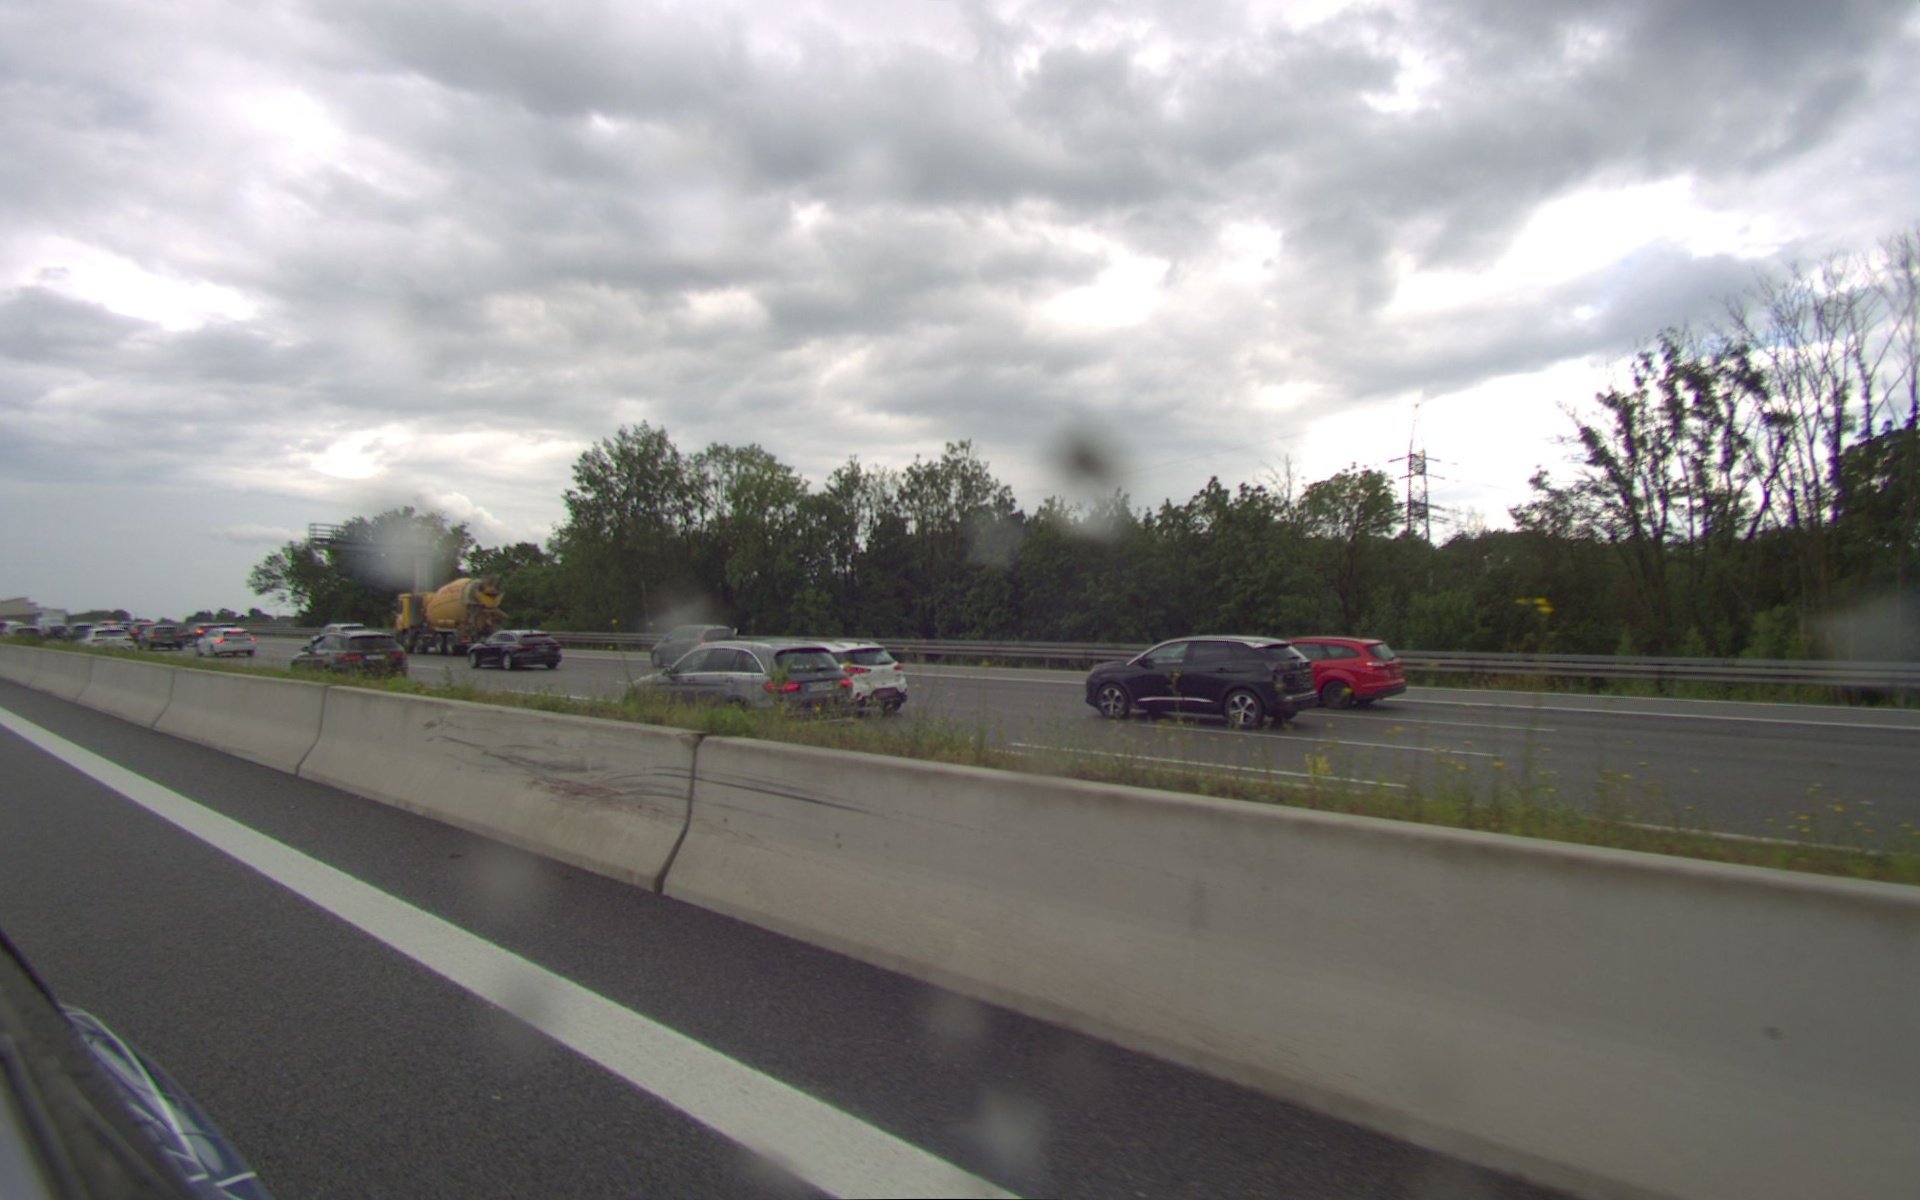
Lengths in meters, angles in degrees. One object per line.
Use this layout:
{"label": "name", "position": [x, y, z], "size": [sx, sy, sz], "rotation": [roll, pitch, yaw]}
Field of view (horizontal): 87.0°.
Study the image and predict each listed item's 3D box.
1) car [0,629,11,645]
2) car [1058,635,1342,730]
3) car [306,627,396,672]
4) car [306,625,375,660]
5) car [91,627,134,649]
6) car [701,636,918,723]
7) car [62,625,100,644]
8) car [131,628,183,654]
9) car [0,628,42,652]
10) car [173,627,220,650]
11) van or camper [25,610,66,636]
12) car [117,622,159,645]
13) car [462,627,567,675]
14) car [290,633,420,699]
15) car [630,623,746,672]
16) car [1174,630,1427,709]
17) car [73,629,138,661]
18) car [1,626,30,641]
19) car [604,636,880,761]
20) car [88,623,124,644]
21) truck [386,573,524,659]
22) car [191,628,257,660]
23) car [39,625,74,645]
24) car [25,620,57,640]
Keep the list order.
{"label": "car", "position": [-103.996, 4.014, 109.299], "size": [4.517, 1.658, 1.705], "rotation": [-1, 0, 41]}
{"label": "car", "position": [4.410, 1.450, 19.137], "size": [4.911, 1.506, 1.961], "rotation": [-1, -2, 41]}
{"label": "car", "position": [-24.142, 1.907, 40.044], "size": [4.642, 1.615, 1.705], "rotation": [-1, 0, 41]}
{"label": "car", "position": [-31.304, 2.117, 51.062], "size": [4.517, 1.615, 1.705], "rotation": [-1, 0, 41]}
{"label": "car", "position": [-60.428, 2.663, 72.147], "size": [4.517, 1.439, 1.705], "rotation": [-1, 0, 41]}
{"label": "car", "position": [-3.273, 1.585, 21.326], "size": [4.909, 1.505, 1.705], "rotation": [-1, 0, 40]}
{"label": "car", "position": [-70.658, 2.764, 81.326], "size": [4.199, 1.429, 1.705], "rotation": [-1, -2, 41]}
{"label": "car", "position": [-49.182, 2.474, 61.958], "size": [4.517, 1.439, 1.705], "rotation": [-1, 0, 41]}
{"label": "car", "position": [-63.699, 2.690, 68.546], "size": [5.228, 1.439, 1.705], "rotation": [-1, 0, 41]}
{"label": "car", "position": [-52.402, 2.586, 69.421], "size": [4.517, 1.439, 1.705], "rotation": [-1, 0, 41]}
{"label": "van or camper", "position": [-114.717, 2.830, 126.914], "size": [8.469, 3.146, 2.599], "rotation": [-1, 0, 40]}
{"label": "car", "position": [-64.959, 2.635, 79.907], "size": [5.233, 1.658, 1.705], "rotation": [-1, 0, 41]}
{"label": "car", "position": [-16.848, 1.864, 38.170], "size": [4.911, 1.615, 1.705], "rotation": [-1, 0, 41]}
{"label": "car", "position": [-17.104, 1.783, 28.508], "size": [4.911, 1.615, 1.705], "rotation": [-1, 0, 41]}
{"label": "car", "position": [-10.149, 1.704, 37.574], "size": [4.911, 1.615, 1.705], "rotation": [-1, 0, 41]}
{"label": "car", "position": [7.374, 1.436, 22.217], "size": [4.911, 1.506, 1.961], "rotation": [-1, -2, 41]}
{"label": "car", "position": [-42.348, 2.195, 50.118], "size": [4.646, 1.439, 1.705], "rotation": [-1, 0, 40]}
{"label": "car", "position": [-94.490, 3.340, 101.257], "size": [4.517, 1.426, 1.705], "rotation": [-1, 0, 41]}
{"label": "car", "position": [-3.644, 1.456, 16.343], "size": [4.909, 1.615, 1.705], "rotation": [-1, 0, 40]}
{"label": "car", "position": [-74.146, 2.897, 87.871], "size": [4.517, 1.658, 1.705], "rotation": [-1, 0, 41]}
{"label": "truck", "position": [-25.914, 0.824, 51.617], "size": [9.577, 4.045, 2.885], "rotation": [-1, -1, 41]}
{"label": "car", "position": [-37.866, 2.229, 52.025], "size": [4.847, 1.481, 1.705], "rotation": [-1, 0, 41]}
{"label": "car", "position": [-79.304, 3.048, 88.818], "size": [4.517, 1.658, 1.705], "rotation": [-1, 0, 41]}
{"label": "car", "position": [-96.291, 3.125, 106.069], "size": [5.543, 1.951, 1.671], "rotation": [-1, 0, 39]}
